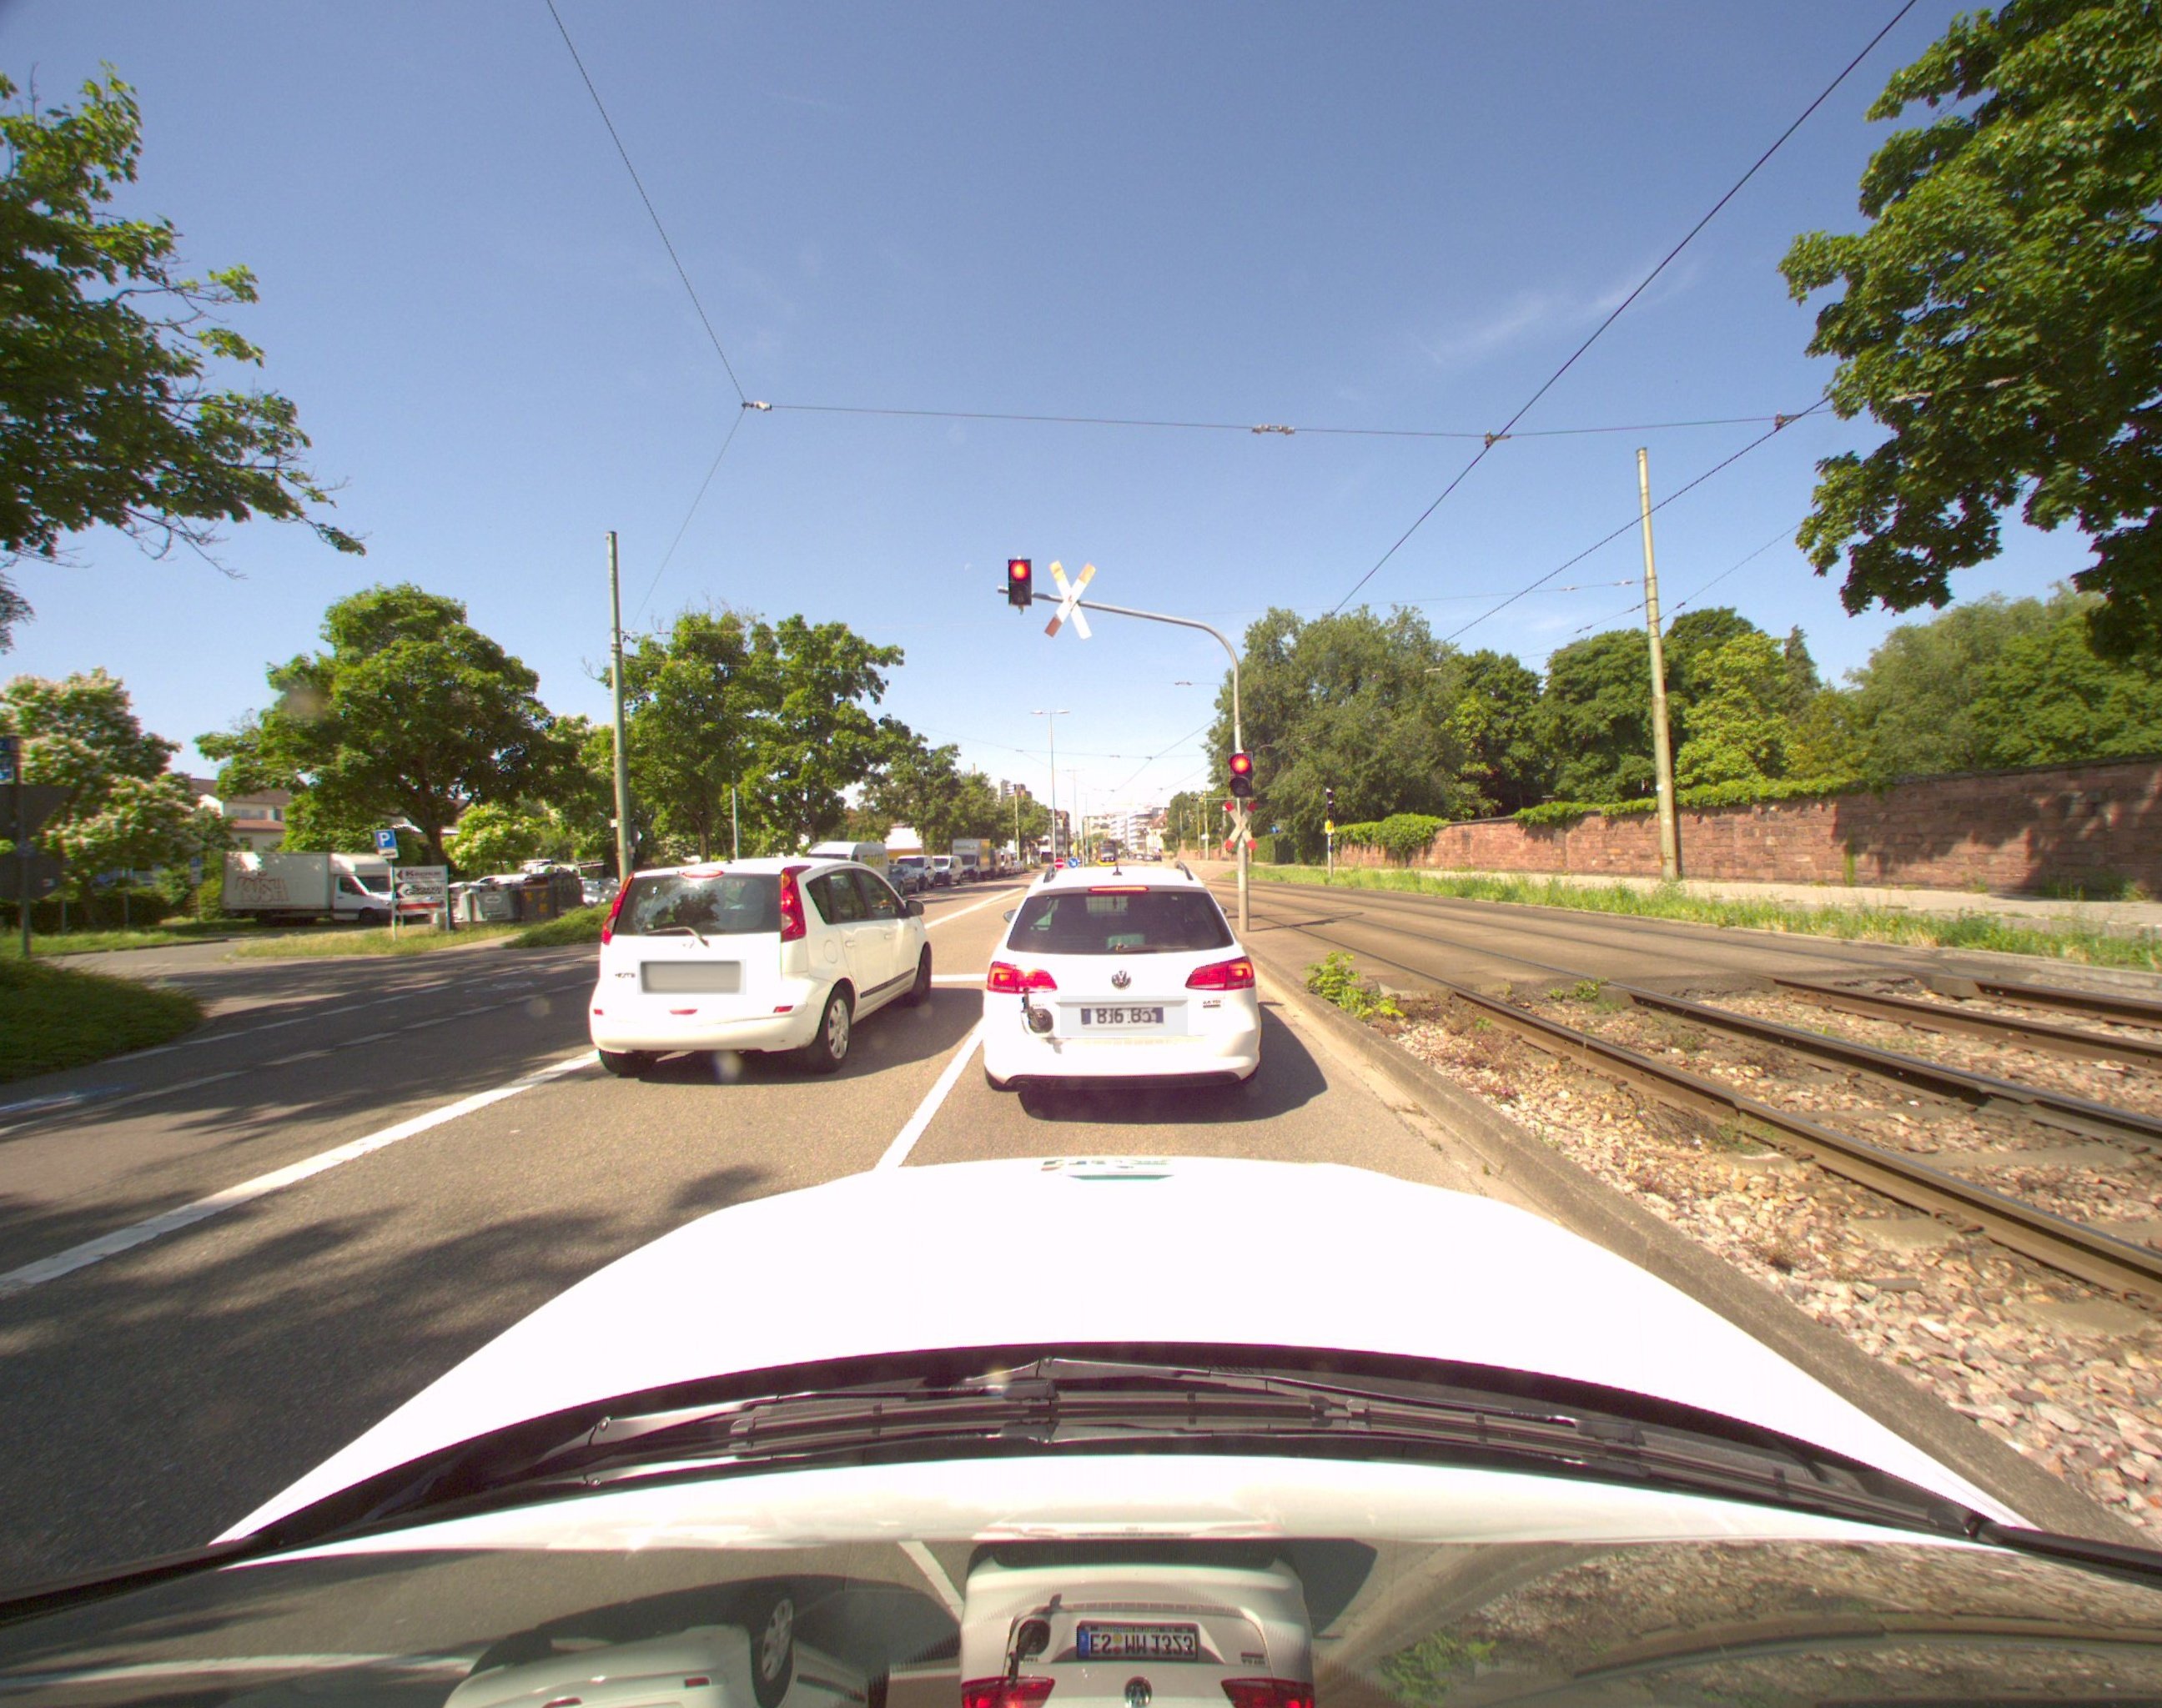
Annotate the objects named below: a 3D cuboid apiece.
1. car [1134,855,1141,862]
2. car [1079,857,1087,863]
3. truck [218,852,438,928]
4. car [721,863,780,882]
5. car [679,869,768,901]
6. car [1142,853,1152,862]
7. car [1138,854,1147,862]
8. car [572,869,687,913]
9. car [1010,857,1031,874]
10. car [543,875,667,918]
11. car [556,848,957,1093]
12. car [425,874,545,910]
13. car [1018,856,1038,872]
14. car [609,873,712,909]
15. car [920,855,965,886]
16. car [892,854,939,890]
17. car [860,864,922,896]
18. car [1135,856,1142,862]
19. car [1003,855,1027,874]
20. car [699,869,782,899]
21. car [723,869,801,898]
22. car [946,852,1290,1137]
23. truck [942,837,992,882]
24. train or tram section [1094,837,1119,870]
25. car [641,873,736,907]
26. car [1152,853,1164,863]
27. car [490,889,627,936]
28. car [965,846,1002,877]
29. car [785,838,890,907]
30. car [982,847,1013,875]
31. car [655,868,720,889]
[{"bbox_3d":[16.053,1.202,231.106,1.857,1.868,5.063,0,0,1],"label":"car"},{"bbox_3d":[0.555,1.490,208.264,1.701,1.473,4.584,-3,0,-3],"label":"car"},{"bbox_3d":[-32.385,1.495,35.205,6.979,3.110,2.677,0,0,0],"label":"truck"},{"bbox_3d":[-31.559,1.778,77.916,4.780,1.787,2.062,0,-1,-3],"label":"car"},{"bbox_3d":[-19.553,1.692,44.651,3.977,1.415,1.729,-4,-1,-3],"label":"car"},{"bbox_3d":[14.276,0.819,176.746,1.857,1.868,5.063,0,0,1],"label":"car"},{"bbox_3d":[14.415,0.977,192.348,1.857,1.868,5.063,0,0,1],"label":"car"},{"bbox_3d":[-19.931,1.602,36.068,3.977,1.610,1.729,-4,-1,-3],"label":"car"},{"bbox_3d":[-6.803,1.265,92.031,1.856,1.868,5.415,0,0,1],"label":"car"},{"bbox_3d":[-19.679,1.742,33.784,3.977,1.415,1.729,-4,-1,-3],"label":"car"},{"bbox_3d":[-2.443,0.752,7.518,1.655,1.547,4.550,-1,0,3],"label":"car"},{"bbox_3d":[-31.785,2.019,43.545,4.780,1.787,2.062,0,-1,-3],"label":"car"},{"bbox_3d":[-6.423,1.202,98.944,1.856,1.868,5.415,0,0,1],"label":"car"},{"bbox_3d":[-20.306,1.775,39.449,3.977,1.415,1.729,-4,-1,-3],"label":"car"},{"bbox_3d":[-8.815,0.979,52.272,1.856,1.868,5.415,0,0,1],"label":"car"},{"bbox_3d":[-9.211,0.961,45.692,1.859,1.868,5.068,0,0,-4],"label":"car"},{"bbox_3d":[-9.041,1.195,39.141,1.856,1.415,4.281,0,0,1],"label":"car"},{"bbox_3d":[17.631,1.497,250.963,1.857,1.868,5.063,0,0,1],"label":"car"},{"bbox_3d":[-6.852,1.089,85.214,1.856,1.868,5.415,0,0,1],"label":"car"},{"bbox_3d":[-19.626,1.737,47.065,3.977,1.415,1.729,-4,-1,-3],"label":"car"},{"bbox_3d":[-19.480,1.790,49.882,3.977,1.415,1.729,-4,-1,-3],"label":"car"},{"bbox_3d":[0.257,0.741,6.310,1.756,1.430,4.002,-3,0,2],"label":"car"},{"bbox_3d":[-8.395,0.377,60.693,2.411,3.150,7.001,0,0,2],"label":"truck"},{"bbox_3d":[3.221,-0.063,104.200,2.860,3.855,12.396,-3,0,2],"label":"train or tram section"},{"bbox_3d":[-20.304,1.840,42.215,3.977,1.415,1.729,-4,-1,-3],"label":"car"},{"bbox_3d":[15.147,0.761,160.551,1.857,1.868,5.063,0,0,1],"label":"car"},{"bbox_3d":[-19.912,2.210,31.169,3.977,1.415,1.729,-4,-1,-3],"label":"car"},{"bbox_3d":[-8.171,0.579,68.692,2.114,2.516,5.737,0,0,2],"label":"car"},{"bbox_3d":[-9.594,0.661,32.677,2.114,2.516,5.822,0,0,3],"label":"car"},{"bbox_3d":[-7.736,0.636,76.123,2.114,2.516,5.737,0,0,2],"label":"car"},{"bbox_3d":[-35.222,2.157,72.970,4.780,1.787,2.062,0,-1,-3],"label":"car"}]
